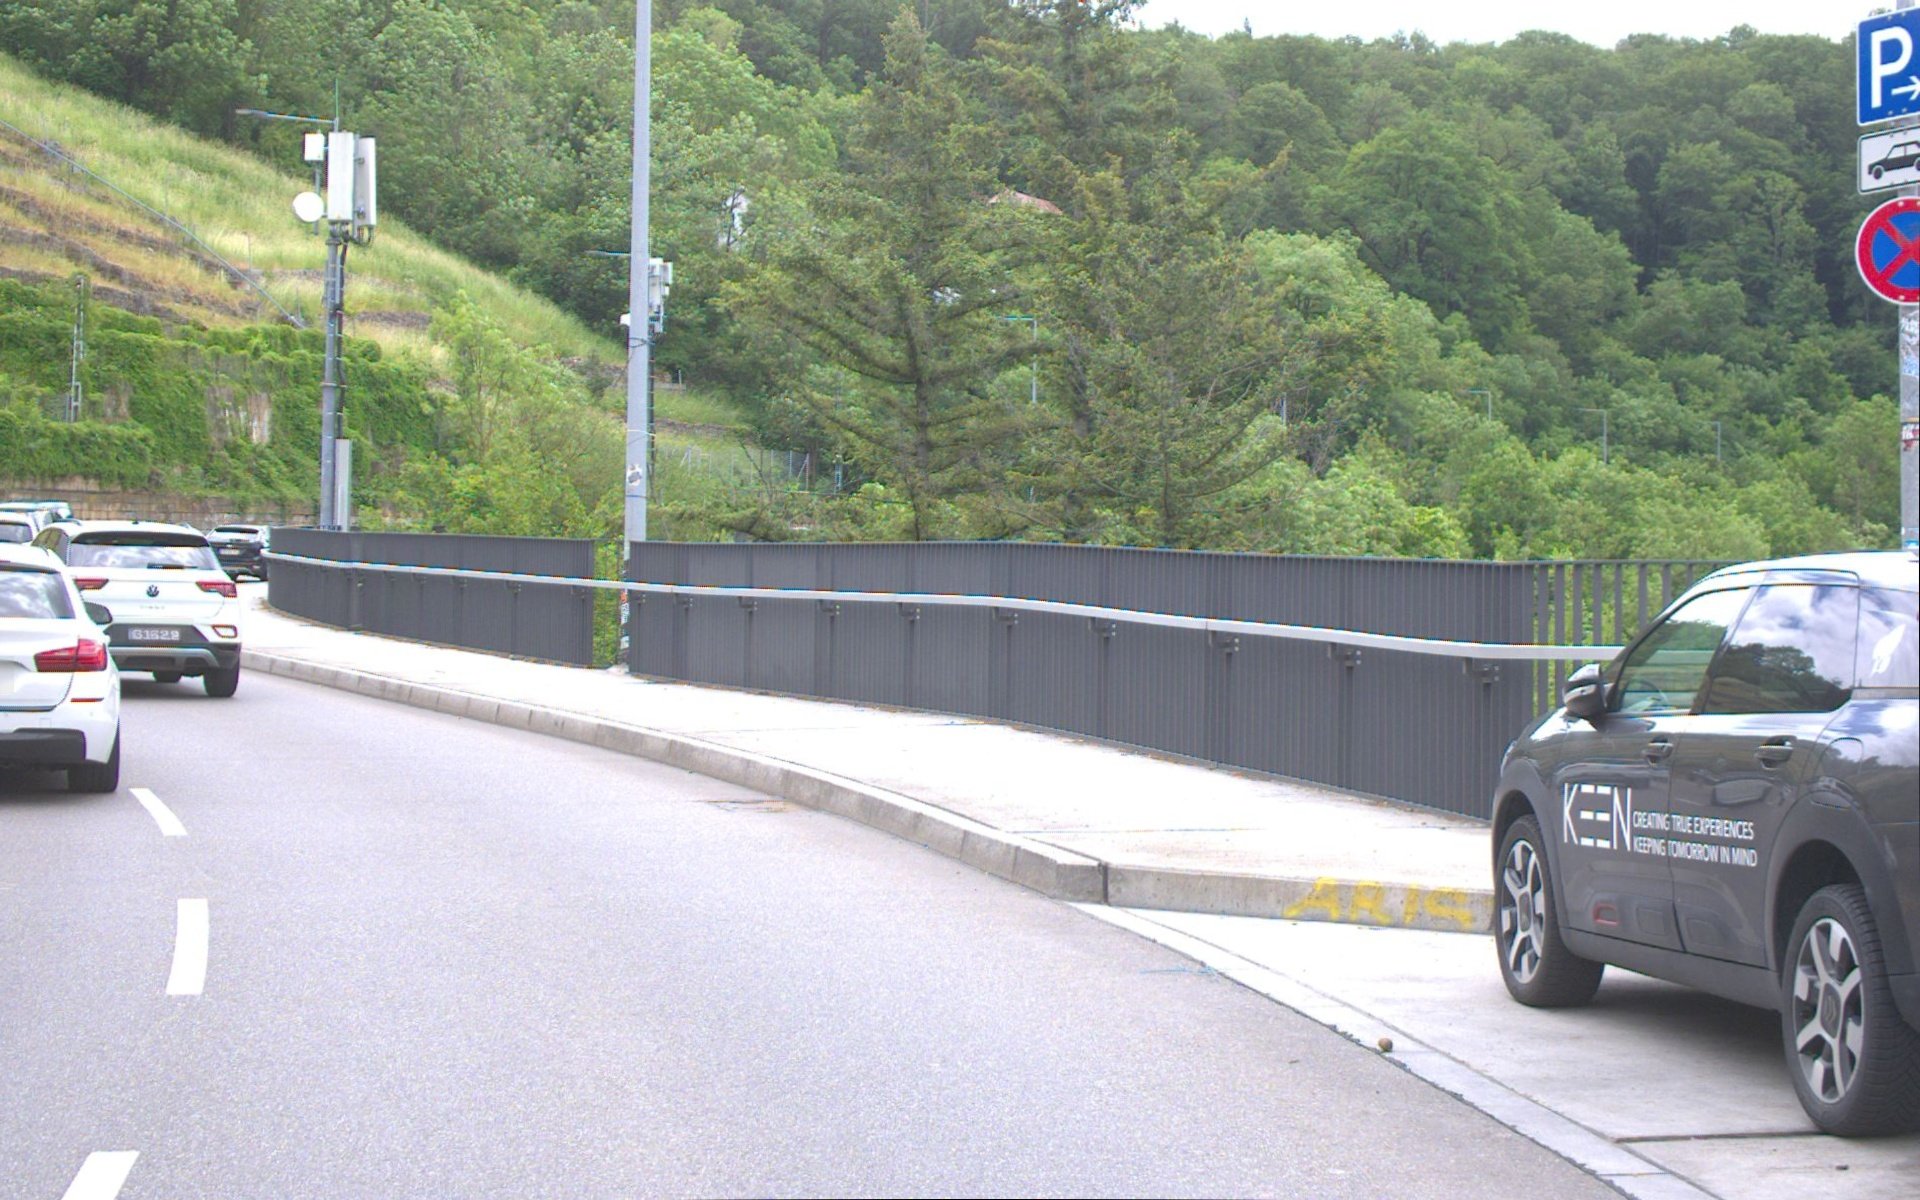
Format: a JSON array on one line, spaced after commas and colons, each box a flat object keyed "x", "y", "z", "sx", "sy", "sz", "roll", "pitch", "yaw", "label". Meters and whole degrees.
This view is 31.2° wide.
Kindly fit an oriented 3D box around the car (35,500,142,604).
[{"x": -17.590, "y": -0.944, "z": 69.541, "sx": 1.993, "sy": 2.007, "sz": 4.001, "roll": -1, "pitch": 0, "yaw": -13, "label": "car"}]

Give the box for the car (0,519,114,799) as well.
[{"x": -6.111, "y": 0.271, "z": 20.720, "sx": 1.827, "sy": 1.454, "sz": 4.488, "roll": 0, "pitch": 2, "yaw": -16, "label": "car"}]

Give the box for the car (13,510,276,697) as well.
[{"x": -7.585, "y": -0.013, "z": 31.720, "sx": 1.827, "sy": 1.600, "sz": 4.001, "roll": 0, "pitch": 1, "yaw": -21, "label": "car"}]

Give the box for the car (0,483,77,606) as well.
[{"x": -14.882, "y": -0.804, "z": 52.947, "sx": 1.993, "sy": 1.712, "sz": 4.114, "roll": -2, "pitch": -1, "yaw": -21, "label": "car"}]

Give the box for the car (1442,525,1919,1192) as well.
[{"x": 2.870, "y": 0.586, "z": 10.059, "sx": 1.874, "sy": 1.537, "sz": 4.090, "roll": 1, "pitch": 0, "yaw": -7, "label": "car"}]

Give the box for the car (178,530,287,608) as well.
[{"x": -18.352, "y": -0.756, "z": 86.925, "sx": 1.869, "sy": 1.756, "sz": 3.999, "roll": 0, "pitch": -2, "yaw": 0, "label": "car"}]
